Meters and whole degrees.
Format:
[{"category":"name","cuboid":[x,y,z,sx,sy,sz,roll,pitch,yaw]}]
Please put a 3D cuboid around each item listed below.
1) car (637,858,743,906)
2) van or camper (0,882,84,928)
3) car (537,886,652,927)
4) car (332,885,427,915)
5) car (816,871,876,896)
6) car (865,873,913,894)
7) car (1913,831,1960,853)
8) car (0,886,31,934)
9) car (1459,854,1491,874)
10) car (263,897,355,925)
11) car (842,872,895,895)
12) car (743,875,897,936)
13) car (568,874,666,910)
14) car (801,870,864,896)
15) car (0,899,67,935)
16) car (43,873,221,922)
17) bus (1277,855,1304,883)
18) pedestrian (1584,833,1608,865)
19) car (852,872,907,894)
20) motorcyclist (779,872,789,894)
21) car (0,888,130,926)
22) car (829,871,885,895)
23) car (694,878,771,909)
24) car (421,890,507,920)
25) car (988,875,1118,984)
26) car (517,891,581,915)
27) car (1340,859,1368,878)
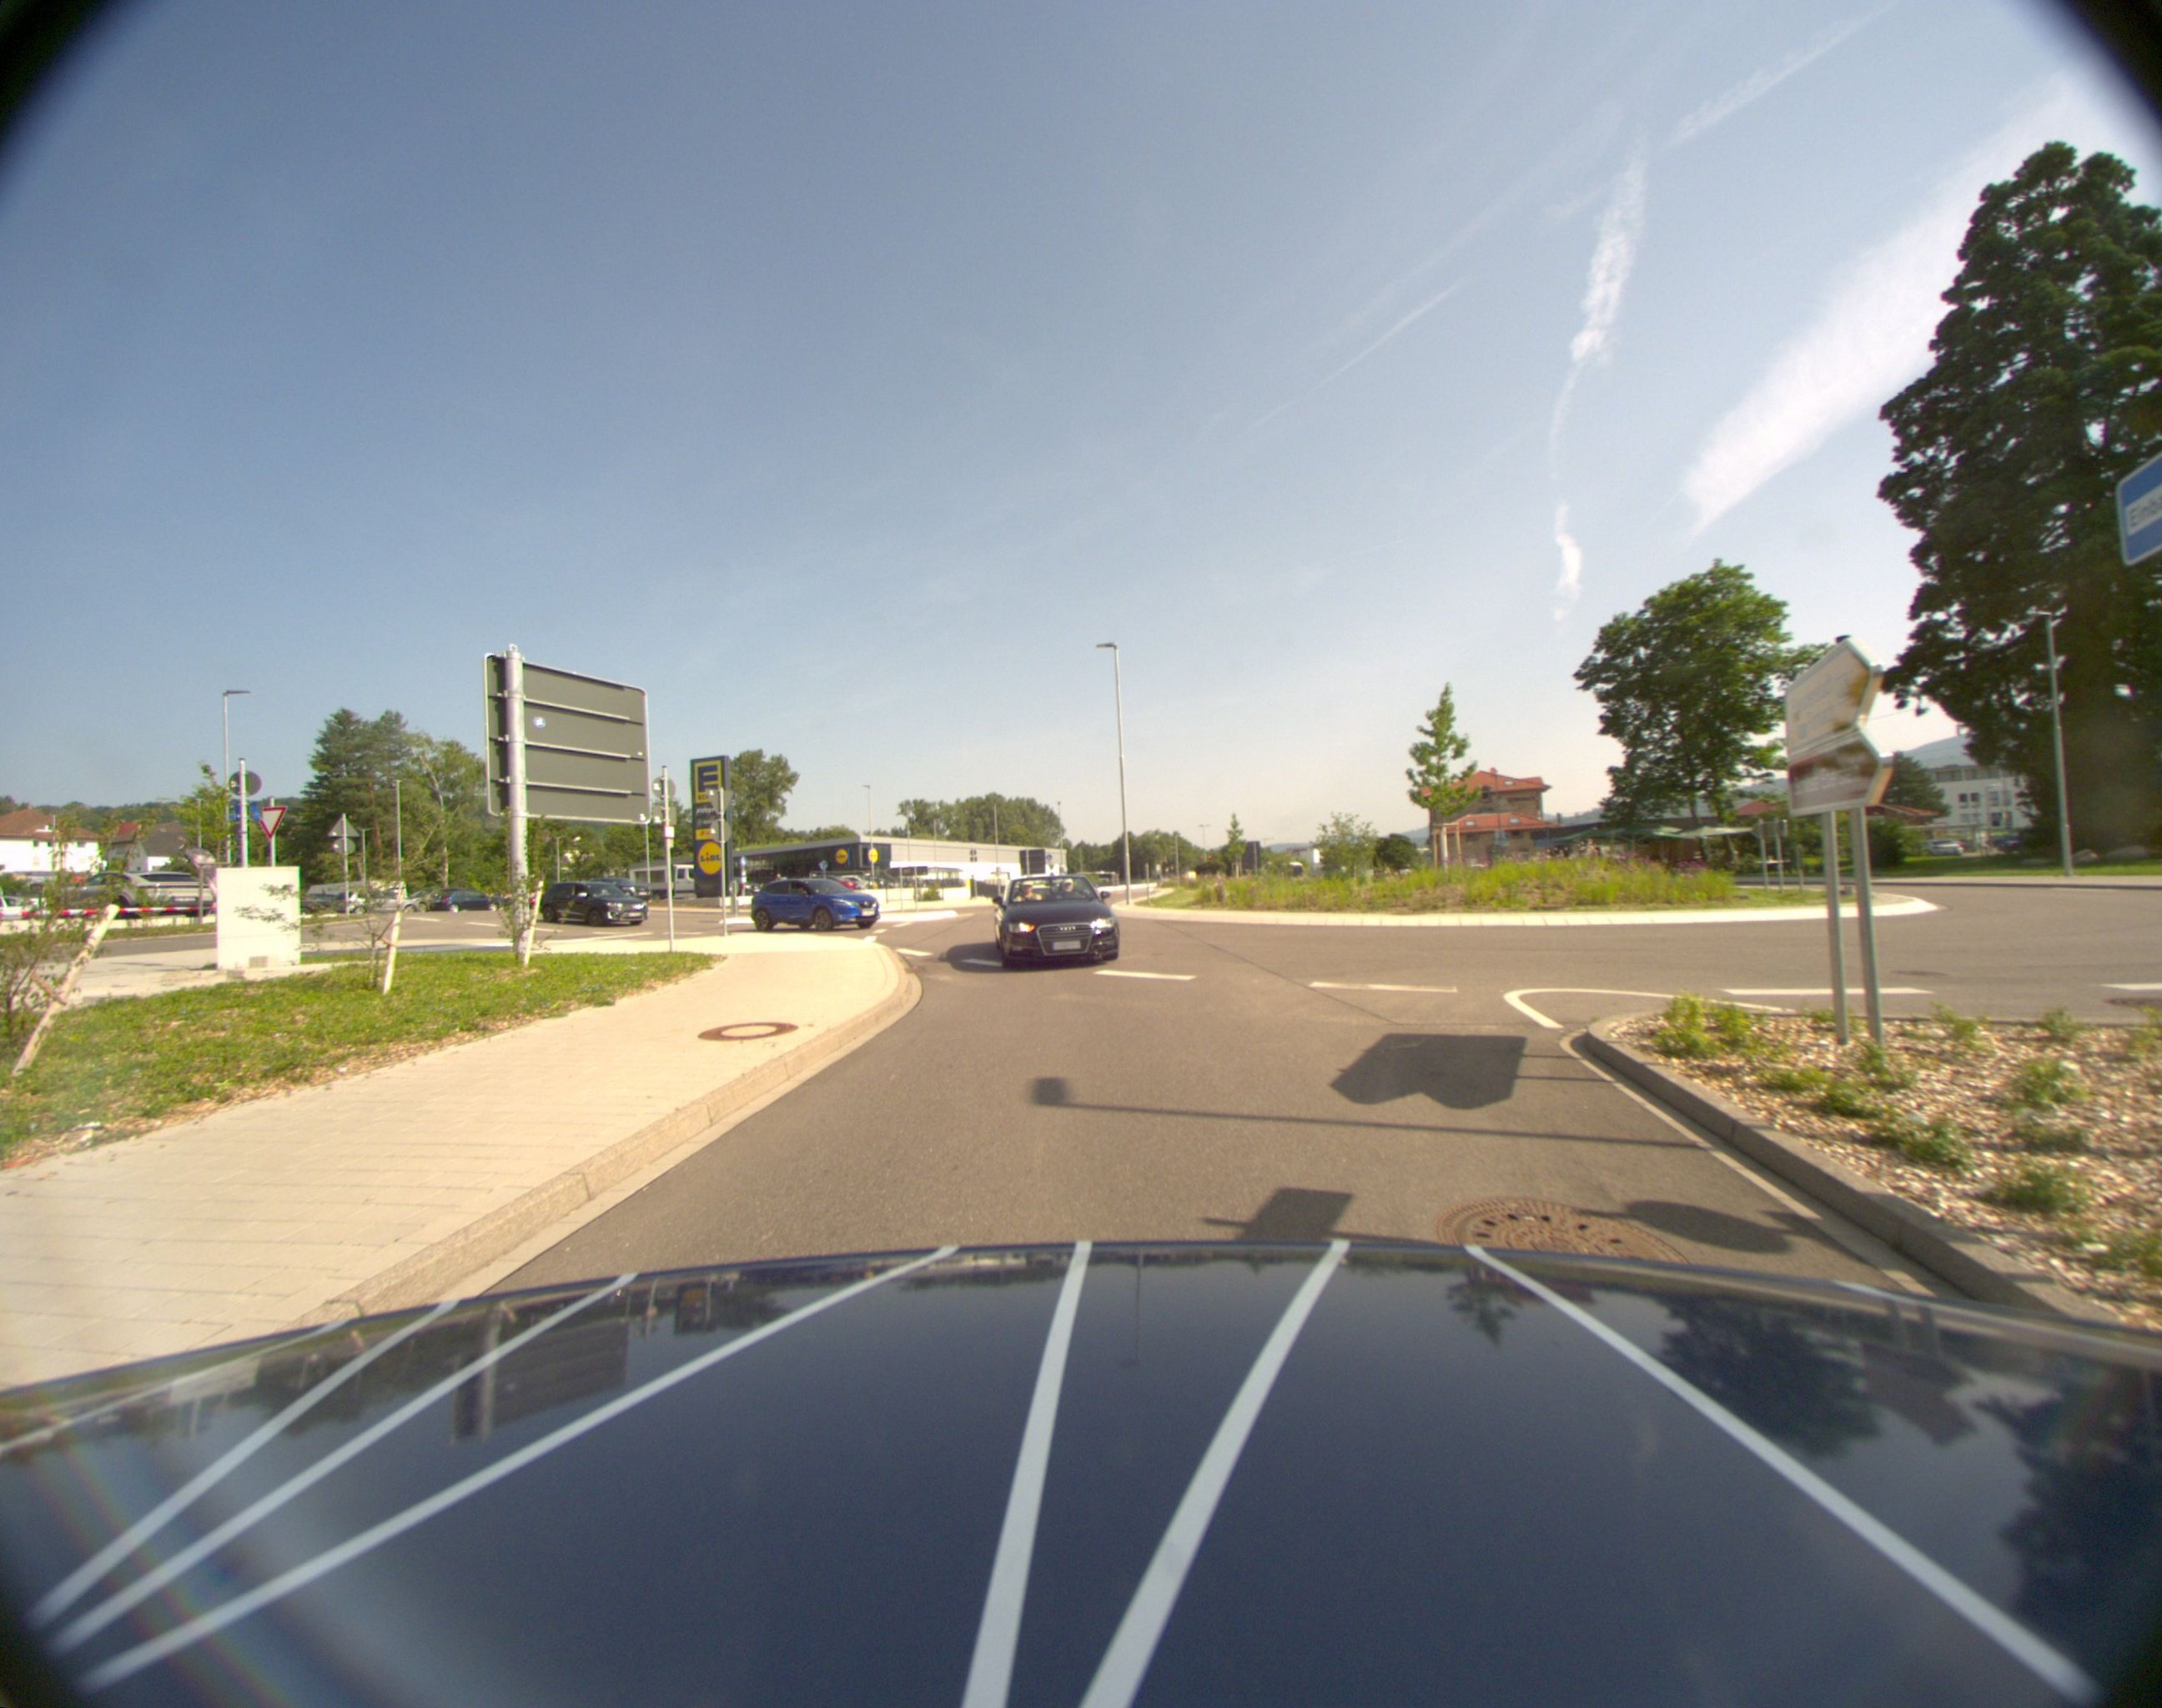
[{"category":"car","cuboid":[-24.677,1.765,47.929,6.081,2.368,2.064,-6,-2,17]},{"category":"van or camper","cuboid":[-71.019,3.400,50.414,2.291,2.829,5.293,-6,-2,14]},{"category":"car","cuboid":[-18.236,1.929,28.453,4.219,1.384,1.647,-1,-1,26]},{"category":"car","cuboid":[-39.604,2.556,42.981,1.523,1.436,3.636,-6,-2,15]},{"category":"car","cuboid":[-18.421,2.297,59.728,4.019,1.564,1.780,-5,-2,0]},{"category":"car","cuboid":[-17.887,2.730,70.904,3.998,1.564,1.704,-5,-2,-3]},{"category":"car","cuboid":[67.199,-0.945,59.730,1.603,1.485,3.657,-6,-1,37]},{"category":"car","cuboid":[-48.154,2.445,31.721,1.998,2.001,4.650,-6,-2,4]},{"category":"car","cuboid":[34.804,0.880,67.199,1.677,1.559,3.655,-6,-1,17]},{"category":"car","cuboid":[-42.988,3.146,42.398,1.524,1.365,3.368,-4,-2,6]},{"category":"car","cuboid":[-18.253,2.527,65.413,3.998,1.564,1.704,-5,-2,-3]},{"category":"car","cuboid":[-8.025,1.552,23.325,4.342,1.653,1.890,-2,0,26]},{"category":"car","cuboid":[-26.025,2.115,42.621,4.851,1.520,1.925,-6,-2,19]},{"category":"car","cuboid":[-18.676,2.213,57.245,4.019,1.564,1.780,-5,-2,0]},{"category":"car","cuboid":[-45.571,2.694,31.816,1.626,1.342,3.334,-5,-1,6]},{"category":"car","cuboid":[-32.278,1.489,25.882,4.813,1.545,1.861,-2,-3,14]},{"category":"bus","cuboid":[28.021,1.998,102.052,2.584,3.308,10.601,-6,-2,12]},{"category":"pedestrian","cuboid":[33.666,-0.336,49.659,0.859,2.001,0.709,-5,-2,-12]},{"category":"car","cuboid":[-17.996,2.618,68.076,4.414,1.564,1.704,-5,-2,-3]},{"category":"motorcyclist","cuboid":[-21.303,2.085,54.512,0.515,1.533,0.581,-5,-2,-23]},{"category":"car","cuboid":[-63.992,3.301,47.824,1.997,1.963,4.653,-6,-2,14]},{"category":"car","cuboid":[-18.448,2.423,62.577,3.998,1.564,1.704,-5,-2,-3]},{"category":"car","cuboid":[-23.079,2.604,50.381,4.469,1.592,1.836,-6,-2,17]},{"category":"car","cuboid":[-38.562,3.161,47.574,1.760,1.564,3.792,-6,-2,14]},{"category":"car","cuboid":[-0.645,1.124,12.839,1.722,1.314,4.221,-5,0,-7]},{"category":"car","cuboid":[-41.916,3.835,59.970,1.760,1.564,3.792,-6,-2,14]},{"category":"car","cuboid":[32.984,1.681,91.704,1.974,1.952,5.167,-7,-3,30]}]
